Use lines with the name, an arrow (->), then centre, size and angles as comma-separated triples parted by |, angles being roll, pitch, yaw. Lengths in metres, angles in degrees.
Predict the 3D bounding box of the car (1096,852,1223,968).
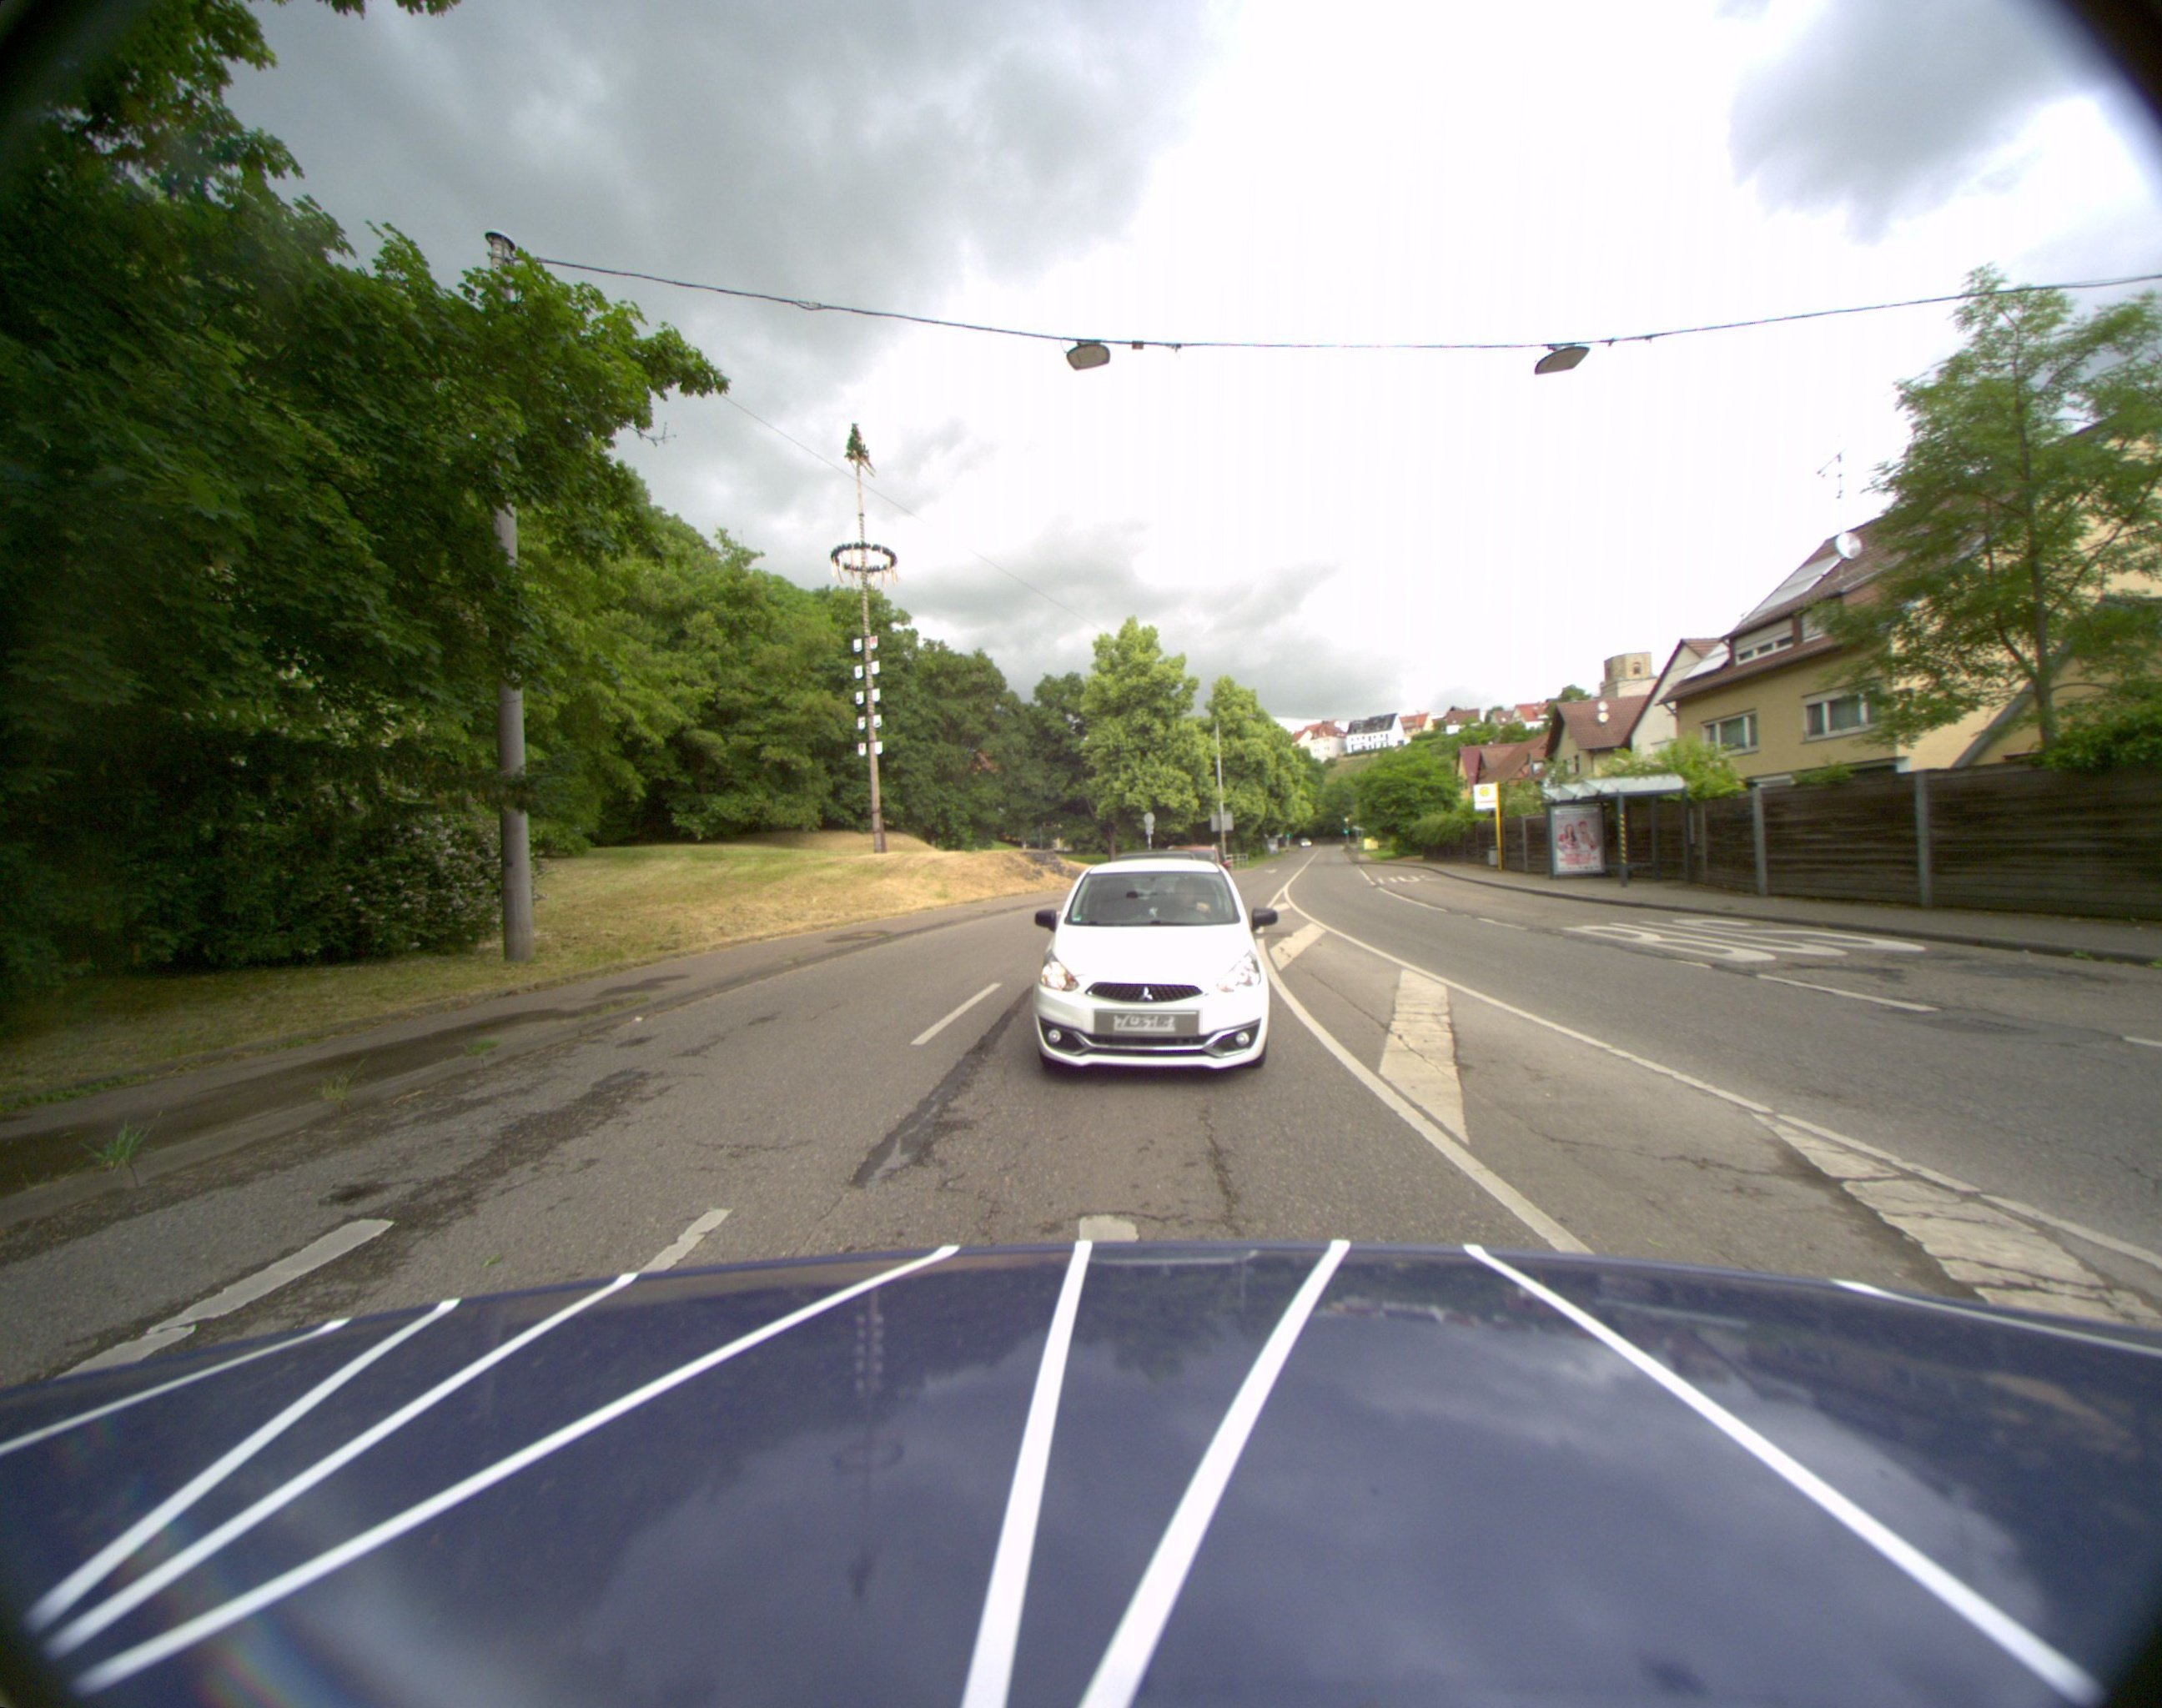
car -> 1.386, 0.791, 12.588 | 1.723, 1.539, 3.784 | -2, 1, 9

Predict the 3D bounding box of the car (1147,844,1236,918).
car -> 2.999, 0.618, 19.892 | 1.826, 1.662, 4.061 | -2, 1, 14

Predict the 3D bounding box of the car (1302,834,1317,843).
car -> 44.828, -3.121, 149.166 | 1.846, 1.630, 4.000 | -2, 1, 1

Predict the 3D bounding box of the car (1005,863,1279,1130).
car -> 0.633, 0.906, 6.430 | 1.617, 1.505, 3.607 | -2, 1, 9
